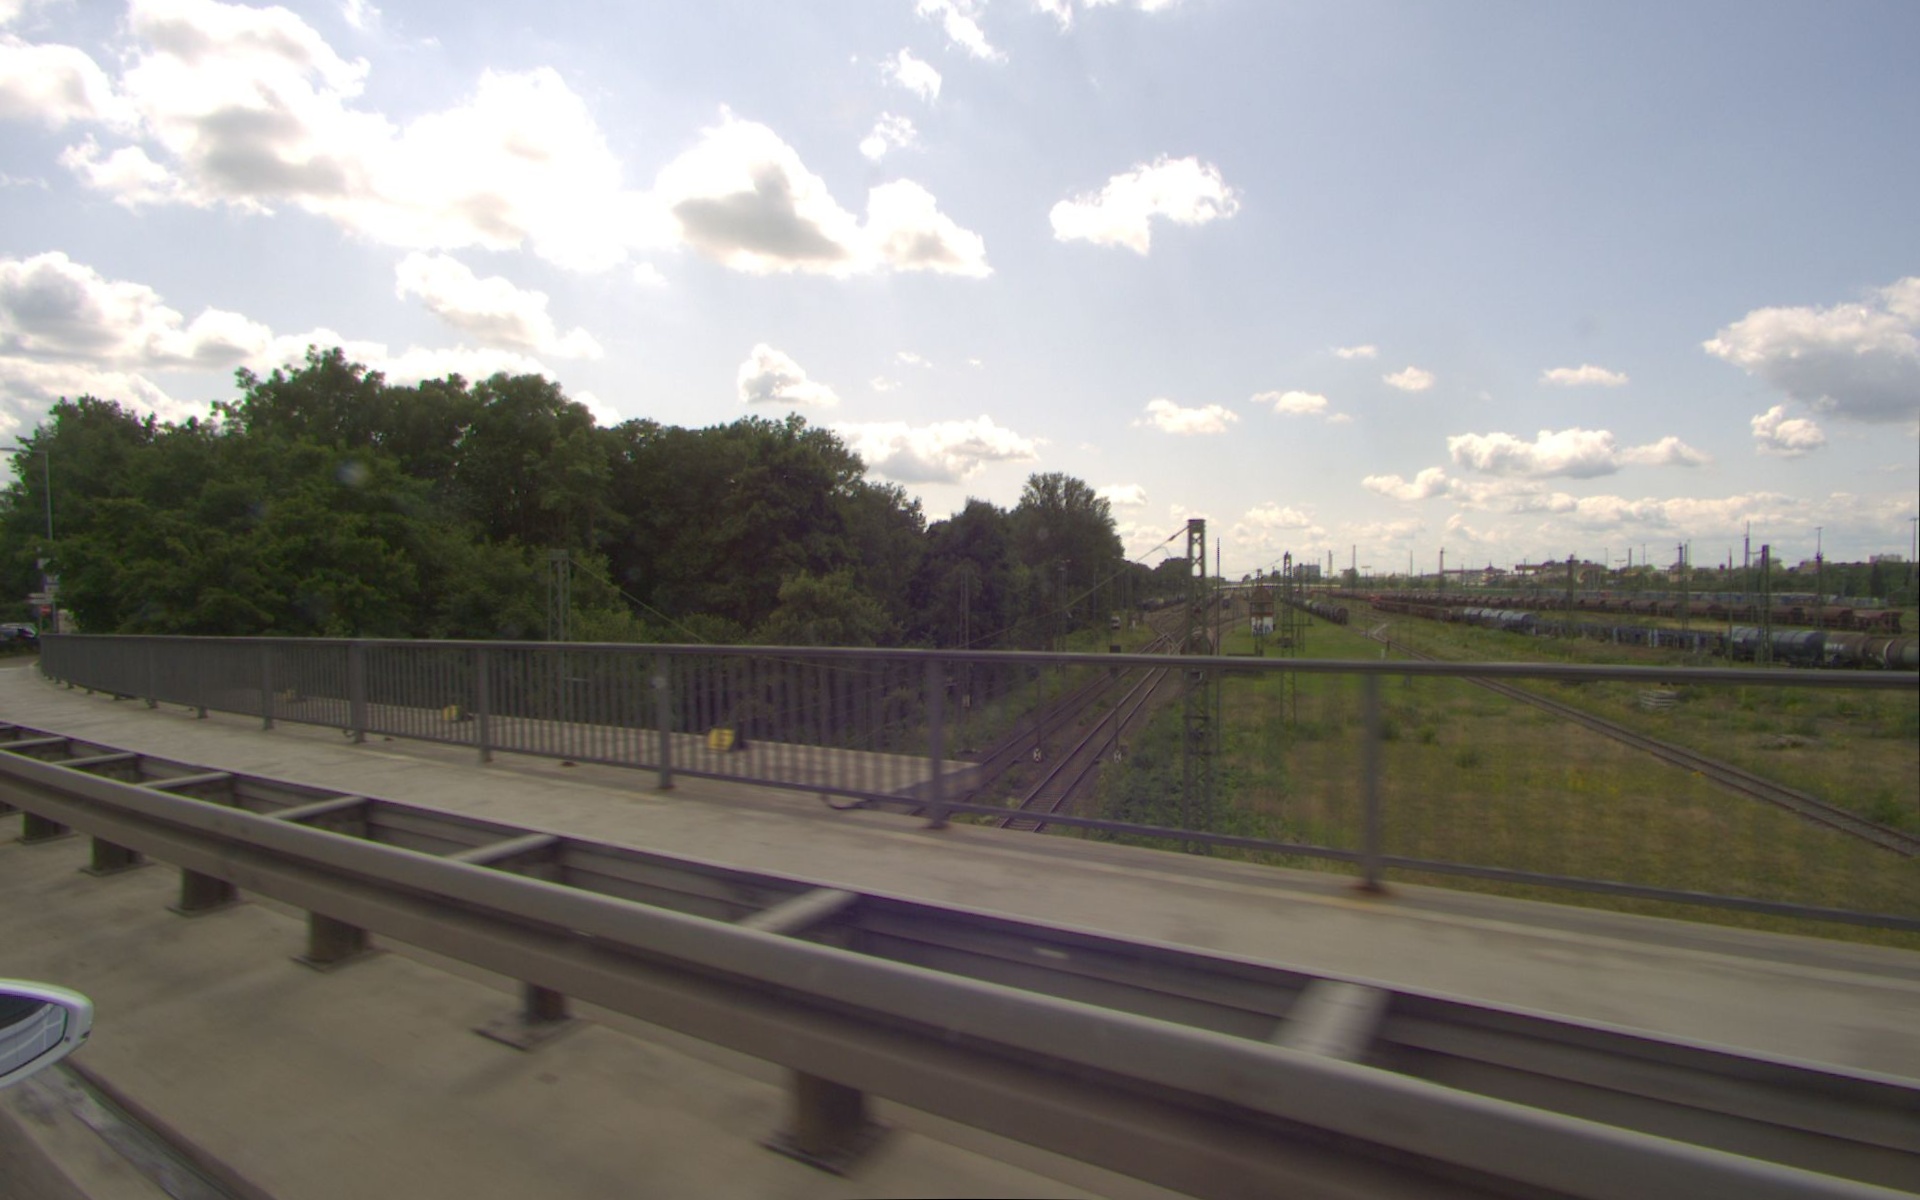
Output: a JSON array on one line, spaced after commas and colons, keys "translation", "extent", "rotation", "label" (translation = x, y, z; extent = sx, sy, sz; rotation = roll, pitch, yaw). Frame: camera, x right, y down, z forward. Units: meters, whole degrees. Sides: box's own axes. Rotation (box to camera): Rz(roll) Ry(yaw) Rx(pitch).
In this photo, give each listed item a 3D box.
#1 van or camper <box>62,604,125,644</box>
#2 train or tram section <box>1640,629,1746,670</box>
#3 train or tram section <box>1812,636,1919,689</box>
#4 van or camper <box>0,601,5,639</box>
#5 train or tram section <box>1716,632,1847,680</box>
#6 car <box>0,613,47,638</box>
[{"translation": [-59.316, 1.615, 68.652], "extent": [1.967, 2.624, 4.078], "rotation": [2, -1, -21], "label": "van or camper"}, {"translation": [92.352, 6.098, 126.727], "extent": [3.151, 4.207, 15.962], "rotation": [-3, 0, 6], "label": "train or tram section"}, {"translation": [88.510, 5.869, 94.985], "extent": [3.151, 4.207, 15.962], "rotation": [-3, 0, 6], "label": "train or tram section"}, {"translation": [-59.211, 1.184, 59.945], "extent": [2.253, 2.370, 5.203], "rotation": [2, -2, -36], "label": "van or camper"}, {"translation": [90.409, 6.016, 110.827], "extent": [3.152, 4.207, 15.960], "rotation": [-3, 0, 8], "label": "train or tram section"}, {"translation": [-54.097, 1.472, 57.337], "extent": [1.662, 1.416, 3.665], "rotation": [0, -1, -25], "label": "car"}]
